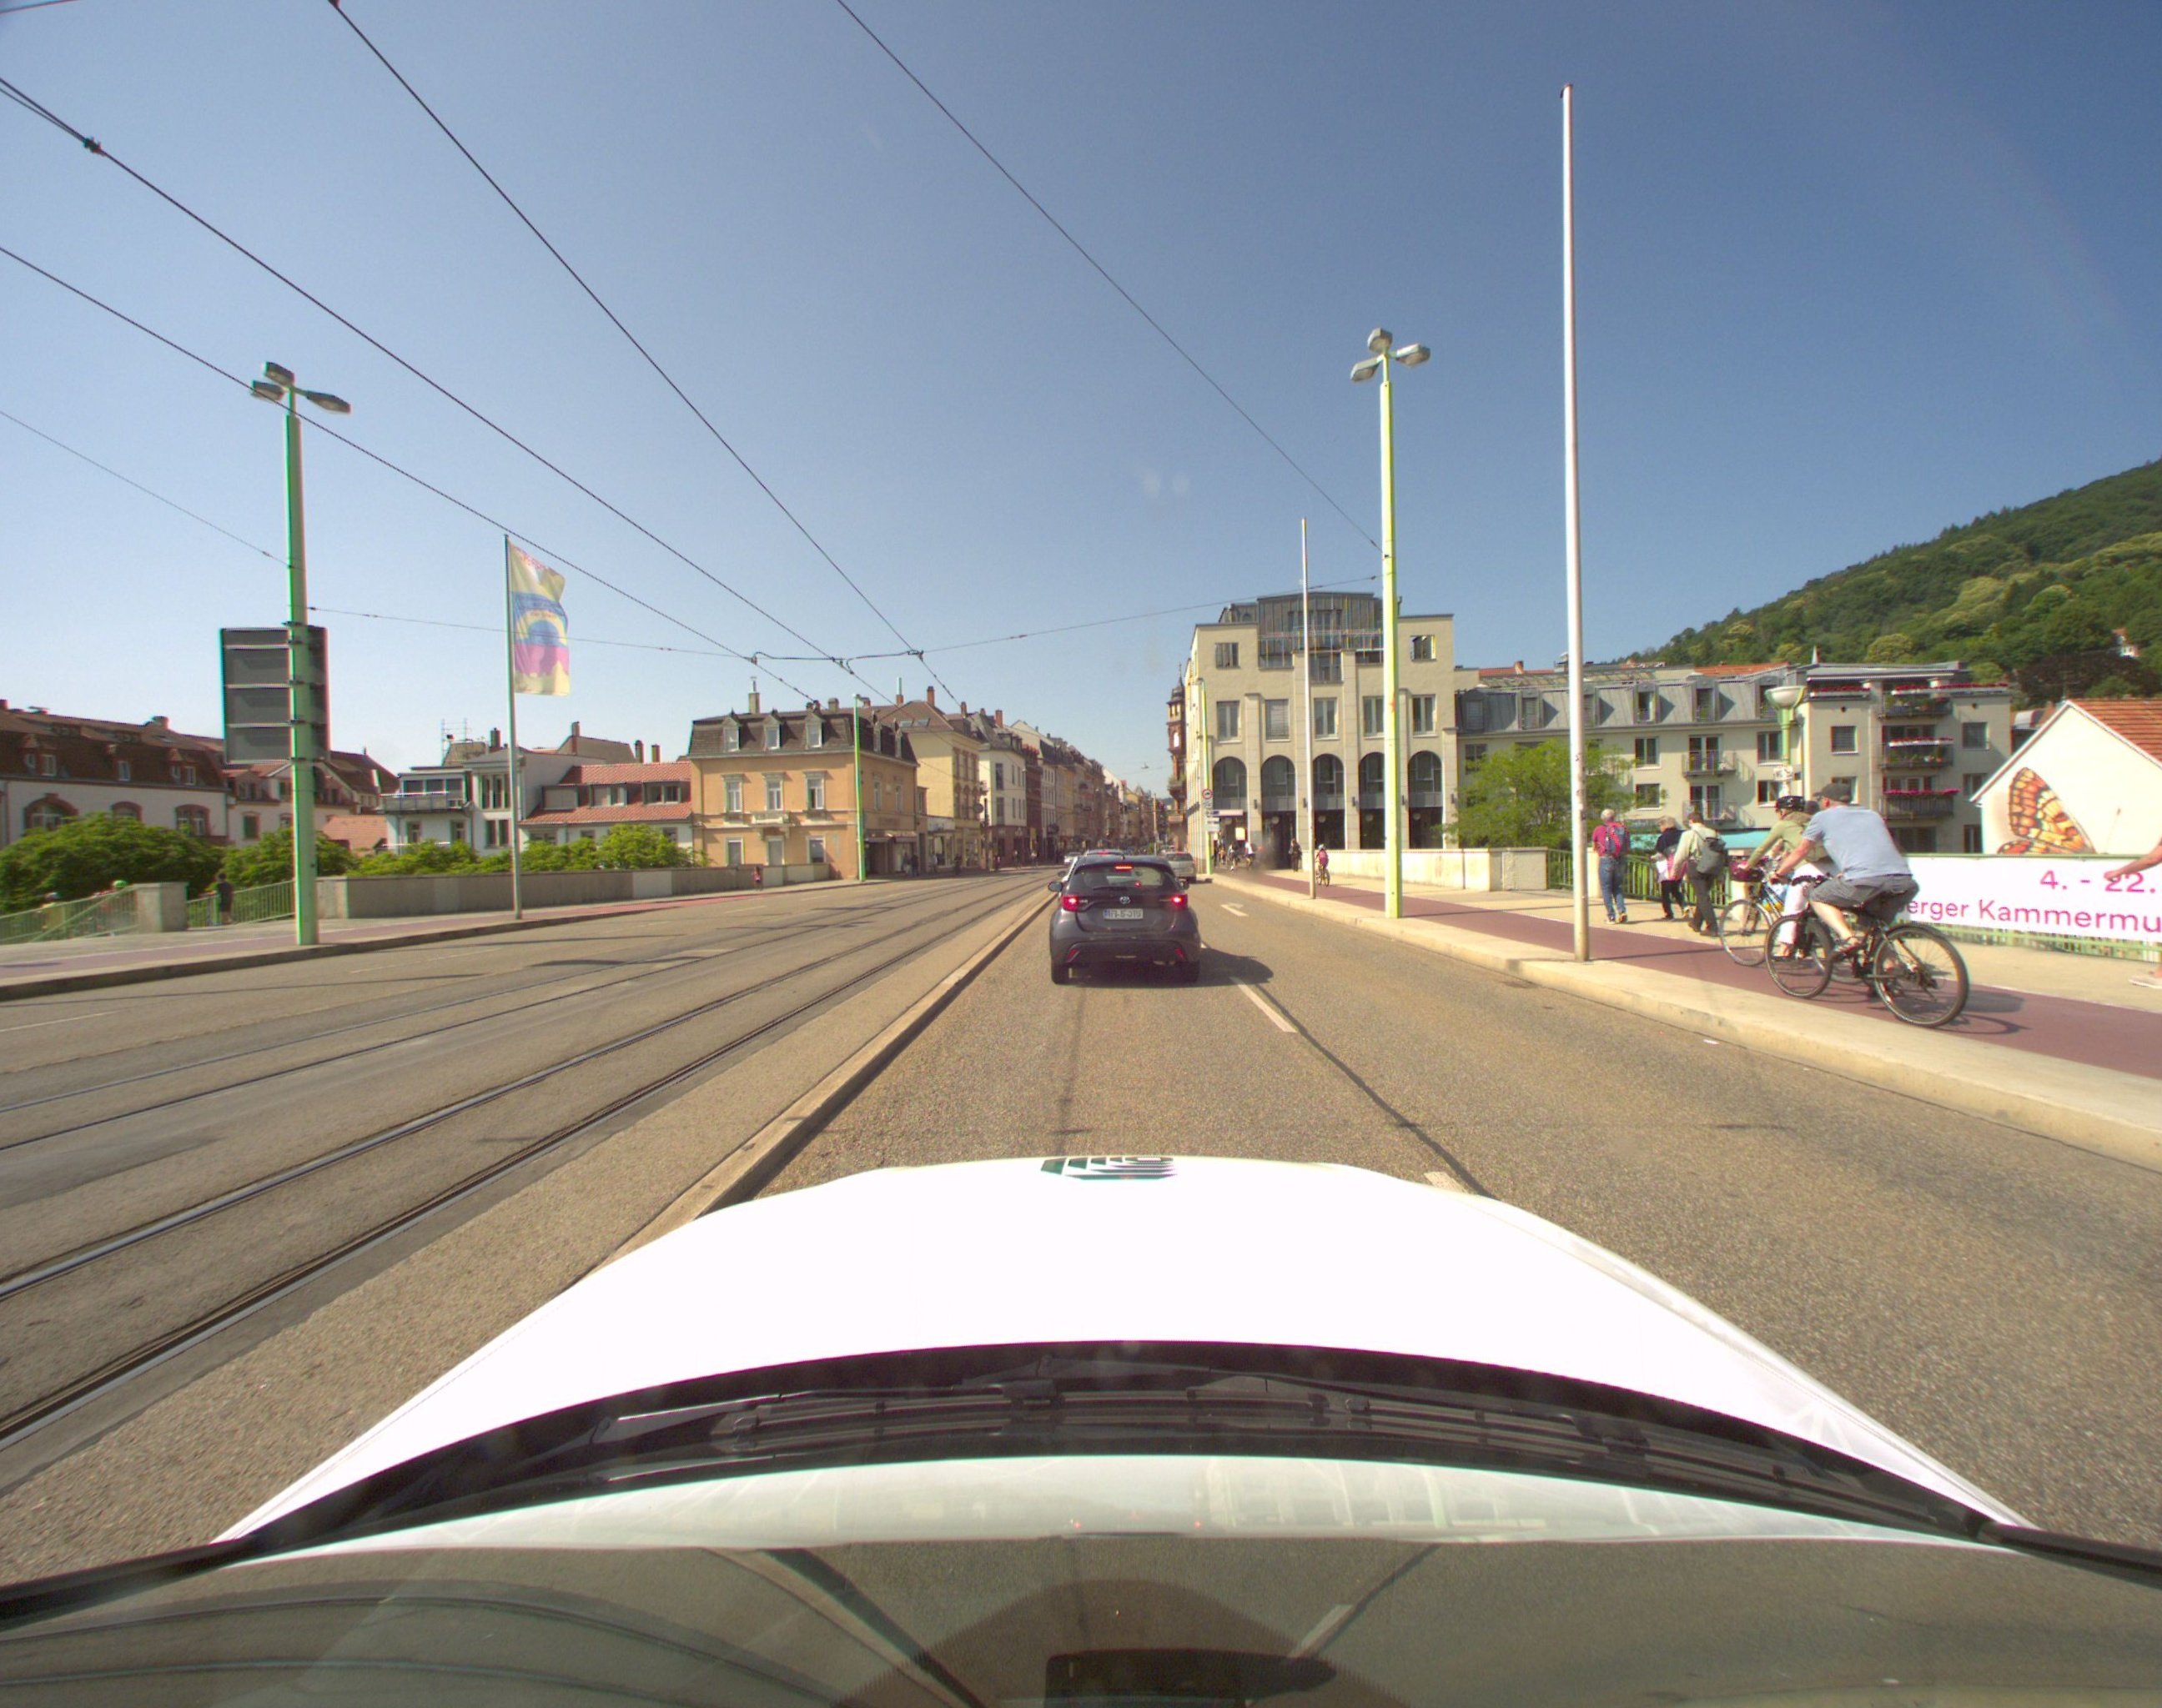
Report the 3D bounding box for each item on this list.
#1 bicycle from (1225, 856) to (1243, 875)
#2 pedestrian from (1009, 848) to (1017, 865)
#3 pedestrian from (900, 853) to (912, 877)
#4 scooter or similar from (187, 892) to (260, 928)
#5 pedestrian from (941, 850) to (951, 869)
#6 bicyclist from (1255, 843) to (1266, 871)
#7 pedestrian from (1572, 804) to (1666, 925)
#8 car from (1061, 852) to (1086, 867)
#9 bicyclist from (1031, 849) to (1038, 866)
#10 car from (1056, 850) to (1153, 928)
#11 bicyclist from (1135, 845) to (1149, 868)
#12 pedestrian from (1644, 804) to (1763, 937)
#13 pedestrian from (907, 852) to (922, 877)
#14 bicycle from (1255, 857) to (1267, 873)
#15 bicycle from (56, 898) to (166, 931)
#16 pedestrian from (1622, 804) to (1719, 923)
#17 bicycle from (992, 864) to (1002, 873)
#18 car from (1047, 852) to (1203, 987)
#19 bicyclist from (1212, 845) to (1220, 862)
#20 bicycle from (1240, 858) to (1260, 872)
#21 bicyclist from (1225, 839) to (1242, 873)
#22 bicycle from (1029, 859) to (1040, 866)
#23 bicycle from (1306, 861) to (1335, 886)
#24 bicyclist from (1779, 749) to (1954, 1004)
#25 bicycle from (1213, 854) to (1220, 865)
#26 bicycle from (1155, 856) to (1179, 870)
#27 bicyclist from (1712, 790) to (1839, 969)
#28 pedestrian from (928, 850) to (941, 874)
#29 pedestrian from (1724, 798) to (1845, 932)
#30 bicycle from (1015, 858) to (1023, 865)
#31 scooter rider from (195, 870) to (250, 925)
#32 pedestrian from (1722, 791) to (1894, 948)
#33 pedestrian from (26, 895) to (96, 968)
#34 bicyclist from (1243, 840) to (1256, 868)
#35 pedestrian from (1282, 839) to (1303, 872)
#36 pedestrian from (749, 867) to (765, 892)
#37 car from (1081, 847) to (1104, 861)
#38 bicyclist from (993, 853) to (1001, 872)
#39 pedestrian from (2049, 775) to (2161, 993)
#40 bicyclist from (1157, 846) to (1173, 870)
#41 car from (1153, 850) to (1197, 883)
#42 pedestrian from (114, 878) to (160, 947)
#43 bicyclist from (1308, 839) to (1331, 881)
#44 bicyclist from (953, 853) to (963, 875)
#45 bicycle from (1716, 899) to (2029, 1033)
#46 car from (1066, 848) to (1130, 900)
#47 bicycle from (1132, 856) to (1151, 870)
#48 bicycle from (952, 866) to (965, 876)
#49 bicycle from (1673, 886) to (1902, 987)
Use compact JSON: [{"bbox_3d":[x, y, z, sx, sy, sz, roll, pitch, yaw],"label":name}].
[{"bbox_3d":[7.891,0.586,42.046,0.701,0.882,1.526,-2,0,2],"label":"bicycle"},{"bbox_3d":[-7.160,0.247,85.610,0.733,1.766,0.787,-1,1,2],"label":"pedestrian"},{"bbox_3d":[-12.344,0.755,57.493,0.646,1.602,0.566,3,2,2],"label":"pedestrian"},{"bbox_3d":[-21.436,1.386,20.383,0.774,0.782,0.964,3,0,13],"label":"scooter or similar"},{"bbox_3d":[-11.350,0.459,68.380,0.646,1.602,0.566,3,2,2],"label":"pedestrian"},{"bbox_3d":[9.285,0.158,42.207,0.420,1.383,0.444,-3,0,1],"label":"bicyclist"},{"bbox_3d":[8.466,0.155,12.858,0.736,1.802,1.016,-3,0,1],"label":"pedestrian"},{"bbox_3d":[-0.749,0.578,87.099,1.720,1.460,4.387,-2,0,11],"label":"car"},{"bbox_3d":[-4.763,0.341,83.338,0.623,1.650,0.623,0,1,10],"label":"bicyclist"},{"bbox_3d":[0.511,0.687,17.976,1.890,1.530,4.001,0,0,1],"label":"car"},{"bbox_3d":[6.951,0.292,93.072,1.231,2.529,1.098,3,0,-18],"label":"bicyclist"},{"bbox_3d":[8.553,0.213,11.242,0.752,1.718,1.073,-3,0,1],"label":"pedestrian"},{"bbox_3d":[-11.467,0.720,56.136,0.757,1.654,0.713,3,0,9],"label":"pedestrian"},{"bbox_3d":[9.308,0.568,42.183,0.415,0.765,0.962,-3,0,2],"label":"bicycle"},{"bbox_3d":[-22.938,1.424,19.274,1.919,0.716,0.623,0,1,3],"label":"bicycle"},{"bbox_3d":[9.359,0.145,12.978,0.736,1.777,1.016,-3,0,1],"label":"pedestrian"},{"bbox_3d":[-7.327,1.294,70.931,0.618,0.716,1.732,0,1,2],"label":"bicycle"},{"bbox_3d":[0.532,0.719,10.783,1.713,1.473,3.659,0,0,1],"label":"car"},{"bbox_3d":[10.511,-0.014,63.418,0.535,1.316,0.673,-3,0,7],"label":"bicyclist"},{"bbox_3d":[9.214,0.600,44.391,0.420,0.765,0.951,-3,0,-37],"label":"bicycle"},{"bbox_3d":[7.868,0.094,42.032,0.699,1.695,0.925,-2,0,2],"label":"bicyclist"},{"bbox_3d":[-4.769,0.871,83.319,0.616,0.716,2.051,0,1,11],"label":"bicycle"},{"bbox_3d":[8.008,0.638,27.269,0.512,0.765,1.661,-3,0,2],"label":"bicycle"},{"bbox_3d":[5.970,0.161,6.230,0.585,1.820,0.702,-2,0,-1],"label":"bicyclist"},{"bbox_3d":[10.547,0.419,63.438,0.414,0.765,1.207,-3,0,6],"label":"bicycle"},{"bbox_3d":[9.166,0.947,87.126,1.118,1.420,2.981,3,0,-27],"label":"bicycle"},{"bbox_3d":[6.789,0.236,7.992,0.585,1.650,0.702,-2,0,-1],"label":"bicyclist"},{"bbox_3d":[-11.150,0.625,61.983,0.733,1.766,0.787,3,0,2],"label":"pedestrian"},{"bbox_3d":[9.773,0.146,11.351,0.736,1.746,1.016,-3,0,1],"label":"pedestrian"},{"bbox_3d":[-6.471,0.793,85.303,0.618,0.716,1.772,-1,1,2],"label":"bicycle"},{"bbox_3d":[-21.471,1.070,20.375,0.763,1.315,0.600,3,0,13],"label":"scooter rider"},{"bbox_3d":[8.892,0.176,10.033,0.974,1.777,1.207,-3,0,1],"label":"pedestrian"},{"bbox_3d":[-25.999,1.960,20.766,0.741,1.781,0.803,-2,0,8],"label":"pedestrian"},{"bbox_3d":[9.190,-0.010,44.378,0.487,1.466,0.438,-3,0,-37],"label":"bicyclist"},{"bbox_3d":[10.799,0.065,41.588,0.736,1.614,1.016,3,0,1],"label":"pedestrian"},{"bbox_3d":[-15.060,1.182,37.829,0.409,1.146,0.545,3,0,7],"label":"pedestrian"},{"bbox_3d":[1.450,0.013,99.641,1.981,1.586,4.665,-2,0,10],"label":"car"},{"bbox_3d":[-7.327,0.762,70.962,0.625,1.650,0.622,0,1,2],"label":"bicyclist"},{"bbox_3d":[8.866,0.217,6.612,0.736,1.718,1.016,-3,0,1],"label":"pedestrian"},{"bbox_3d":[9.042,0.406,87.379,1.234,2.529,1.095,3,0,-26],"label":"bicyclist"},{"bbox_3d":[4.433,0.559,38.865,1.699,1.466,4.327,0,0,1],"label":"car"},{"bbox_3d":[-22.881,1.397,19.745,0.623,1.632,0.413,1,0,3],"label":"pedestrian"},{"bbox_3d":[7.976,0.195,27.260,0.532,1.383,0.669,-3,0,1],"label":"bicyclist"},{"bbox_3d":[-9.038,0.733,59.991,0.625,1.650,0.622,0,1,2],"label":"bicyclist"},{"bbox_3d":[6.002,0.796,6.360,0.592,0.765,1.866,-3,0,-1],"label":"bicycle"},{"bbox_3d":[0.563,0.587,26.047,1.890,1.530,4.001,0,0,1],"label":"car"},{"bbox_3d":[6.927,1.034,93.047,1.114,1.420,2.991,3,0,-16],"label":"bicycle"},{"bbox_3d":[-9.037,1.258,59.964,0.618,0.716,1.772,0,1,2],"label":"bicycle"},{"bbox_3d":[6.811,0.752,8.003,0.592,0.765,1.866,-3,0,-1],"label":"bicycle"}]
